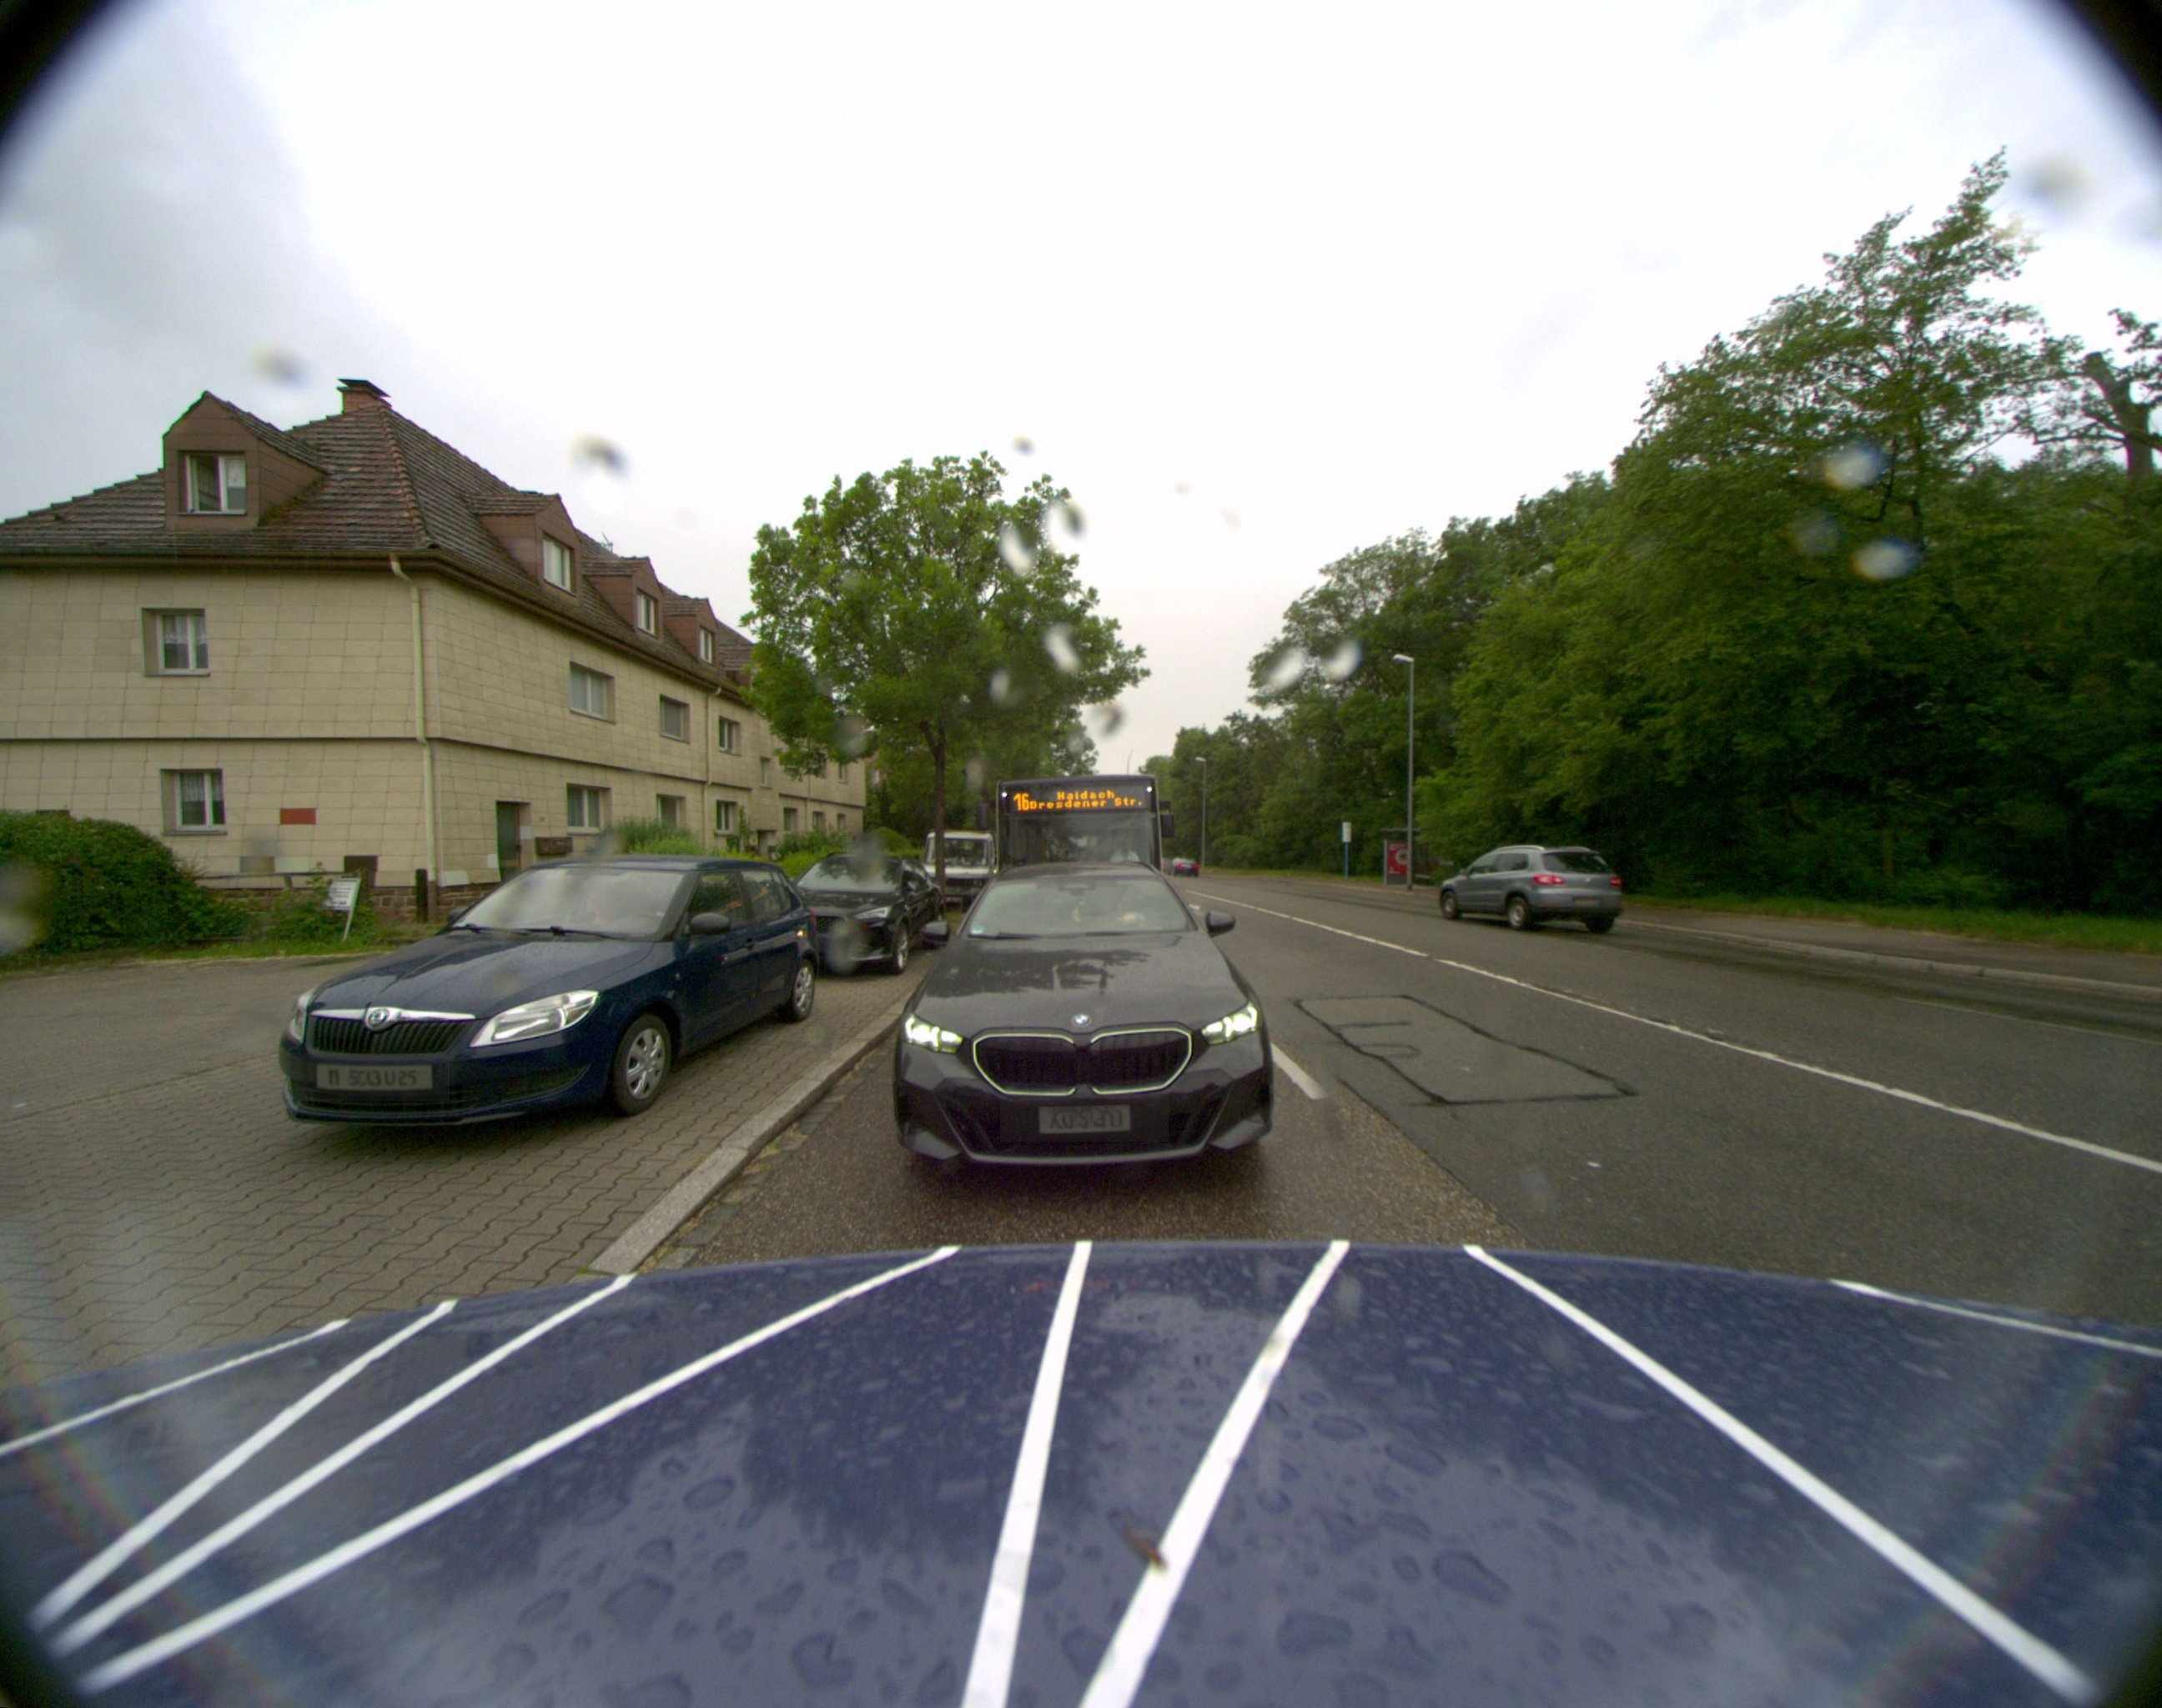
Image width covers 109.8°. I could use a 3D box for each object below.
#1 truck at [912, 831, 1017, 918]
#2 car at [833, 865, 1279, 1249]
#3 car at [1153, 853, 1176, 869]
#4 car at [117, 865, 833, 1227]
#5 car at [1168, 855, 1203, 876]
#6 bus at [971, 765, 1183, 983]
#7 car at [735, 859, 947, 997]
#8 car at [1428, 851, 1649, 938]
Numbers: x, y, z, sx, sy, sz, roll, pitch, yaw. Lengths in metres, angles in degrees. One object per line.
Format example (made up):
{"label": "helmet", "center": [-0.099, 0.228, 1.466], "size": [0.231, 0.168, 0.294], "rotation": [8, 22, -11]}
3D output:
{"label": "truck", "center": [-3.140, 0.512, 21.786], "size": [1.998, 2.184, 5.756], "rotation": [0, 0, 2]}
{"label": "car", "center": [-0.080, 0.929, 5.496], "size": [1.882, 1.520, 4.316], "rotation": [-3, 0, 1]}
{"label": "car", "center": [7.956, 0.646, 72.755], "size": [1.598, 1.420, 3.905], "rotation": [1, 0, -1]}
{"label": "car", "center": [-3.262, 0.859, 5.266], "size": [1.720, 1.416, 3.999], "rotation": [1, 1, 1]}
{"label": "car", "center": [8.195, 0.846, 60.124], "size": [1.915, 1.445, 4.947], "rotation": [3, 1, -1]}
{"label": "bus", "center": [0.075, 0.225, 14.992], "size": [2.767, 2.858, 9.403], "rotation": [-2, 1, 2]}
{"label": "car", "center": [-3.074, 0.851, 10.608], "size": [1.720, 1.455, 3.999], "rotation": [1, 1, -1]}
{"label": "car", "center": [9.316, 0.732, 15.967], "size": [1.913, 1.581, 4.316], "rotation": [0, 0, -2]}
